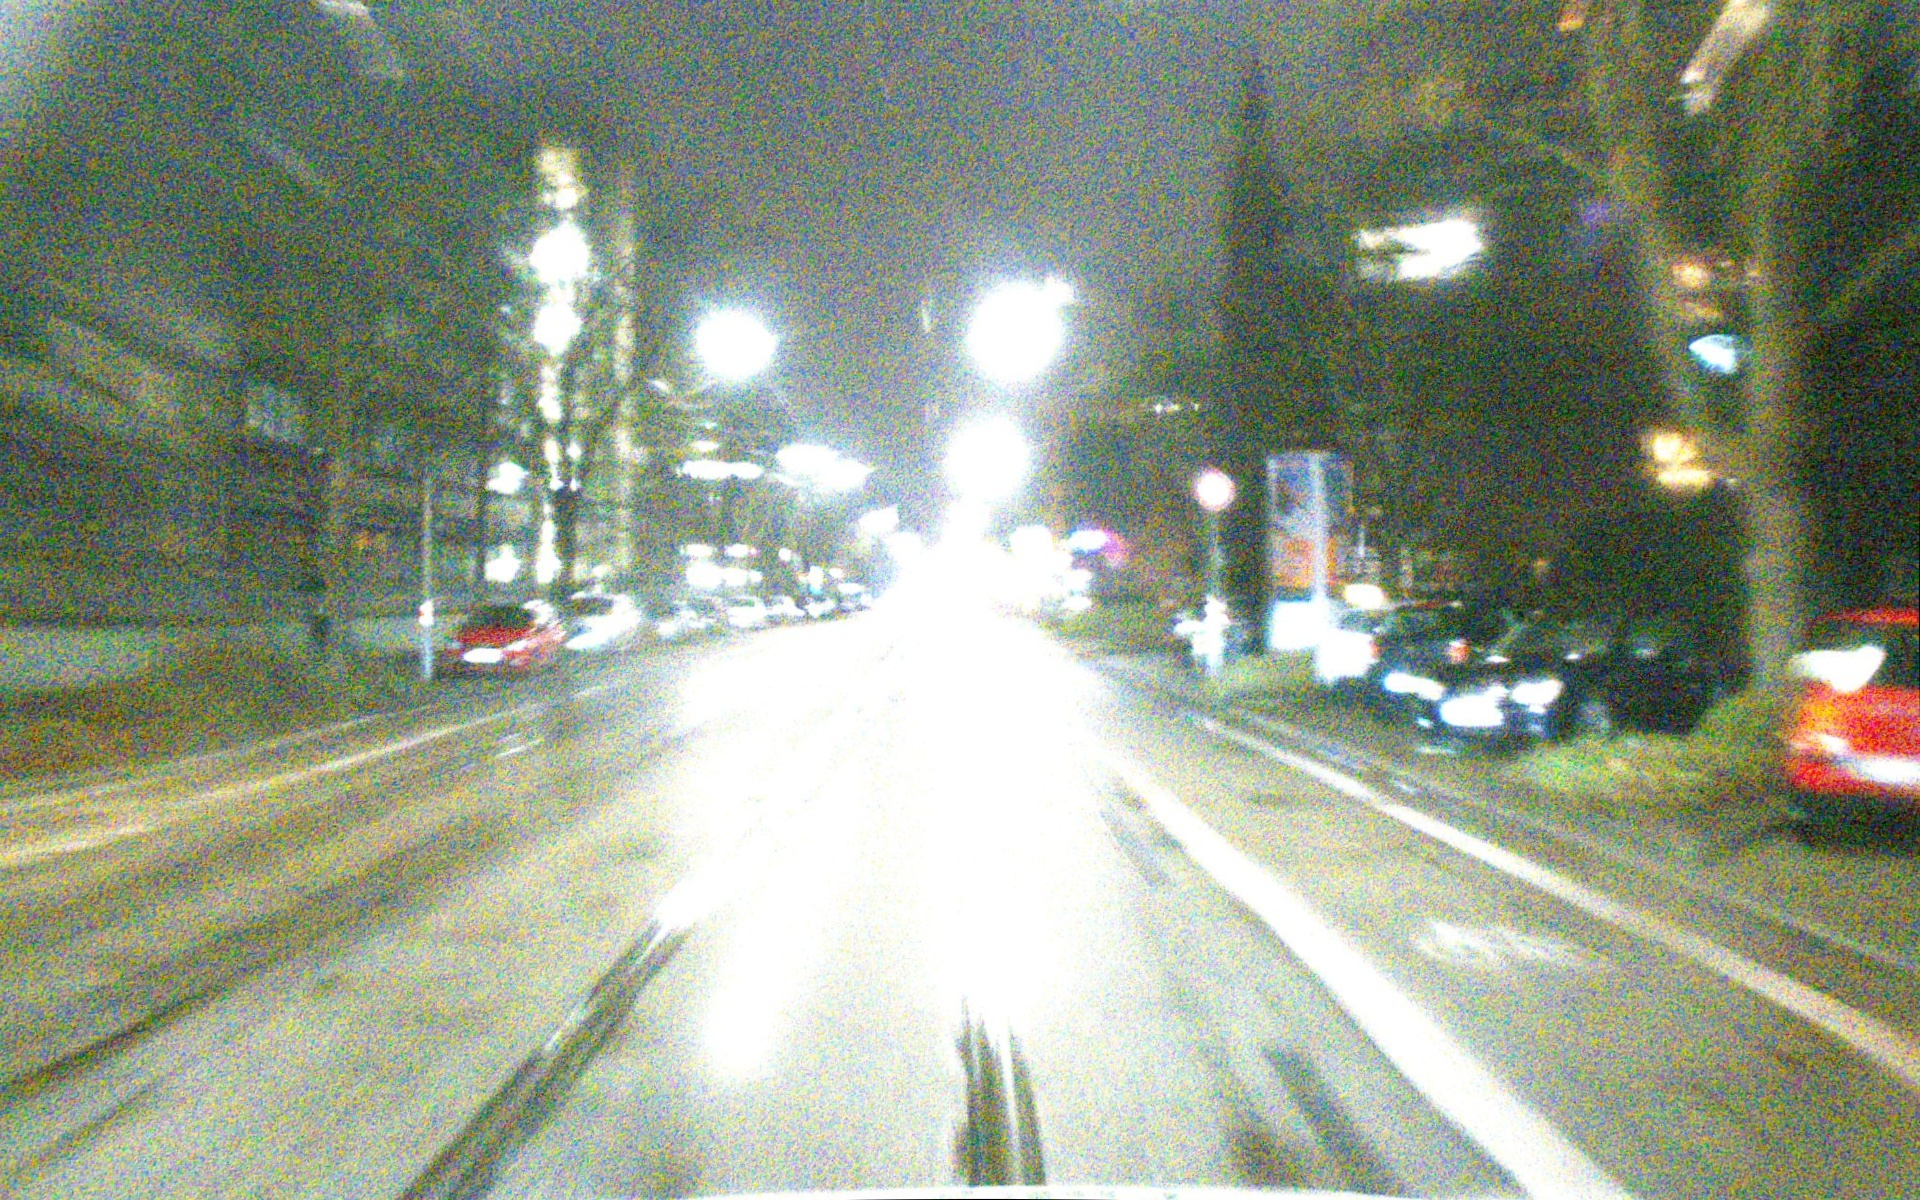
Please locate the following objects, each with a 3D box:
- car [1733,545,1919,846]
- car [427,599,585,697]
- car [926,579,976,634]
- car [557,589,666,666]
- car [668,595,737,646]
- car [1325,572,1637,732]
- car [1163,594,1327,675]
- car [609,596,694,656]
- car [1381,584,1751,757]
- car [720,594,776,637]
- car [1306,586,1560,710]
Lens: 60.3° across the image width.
[{"bbox_3d":[6.567,0.571,10.524,2.019,1.652,3.807,2,0,41],"label":"car"},{"bbox_3d":[-9.269,0.940,34.237,2.066,1.795,4.962,2,-1,-3],"label":"car"},{"bbox_3d":[-0.467,0.294,79.122,2.172,2.484,5.381,1,0,-2],"label":"car"},{"bbox_3d":[-8.922,0.701,42.675,1.959,1.816,3.999,2,-1,-1],"label":"car"},{"bbox_3d":[-9.713,0.779,62.612,1.982,1.791,3.999,2,-1,-1],"label":"car"},{"bbox_3d":[6.474,0.606,20.315,1.996,1.728,4.220,2,0,43],"label":"car"},{"bbox_3d":[6.261,0.747,36.090,1.874,1.600,3.944,2,0,38],"label":"car"},{"bbox_3d":[-9.887,0.831,53.326,1.982,1.791,3.999,2,-1,-1],"label":"car"},{"bbox_3d":[6.220,0.666,16.730,1.919,1.480,4.217,2,0,45],"label":"car"},{"bbox_3d":[-9.449,0.710,73.944,1.982,1.791,3.999,2,-1,-1],"label":"car"},{"bbox_3d":[6.846,0.670,23.719,1.878,1.600,3.935,2,0,43],"label":"car"}]
